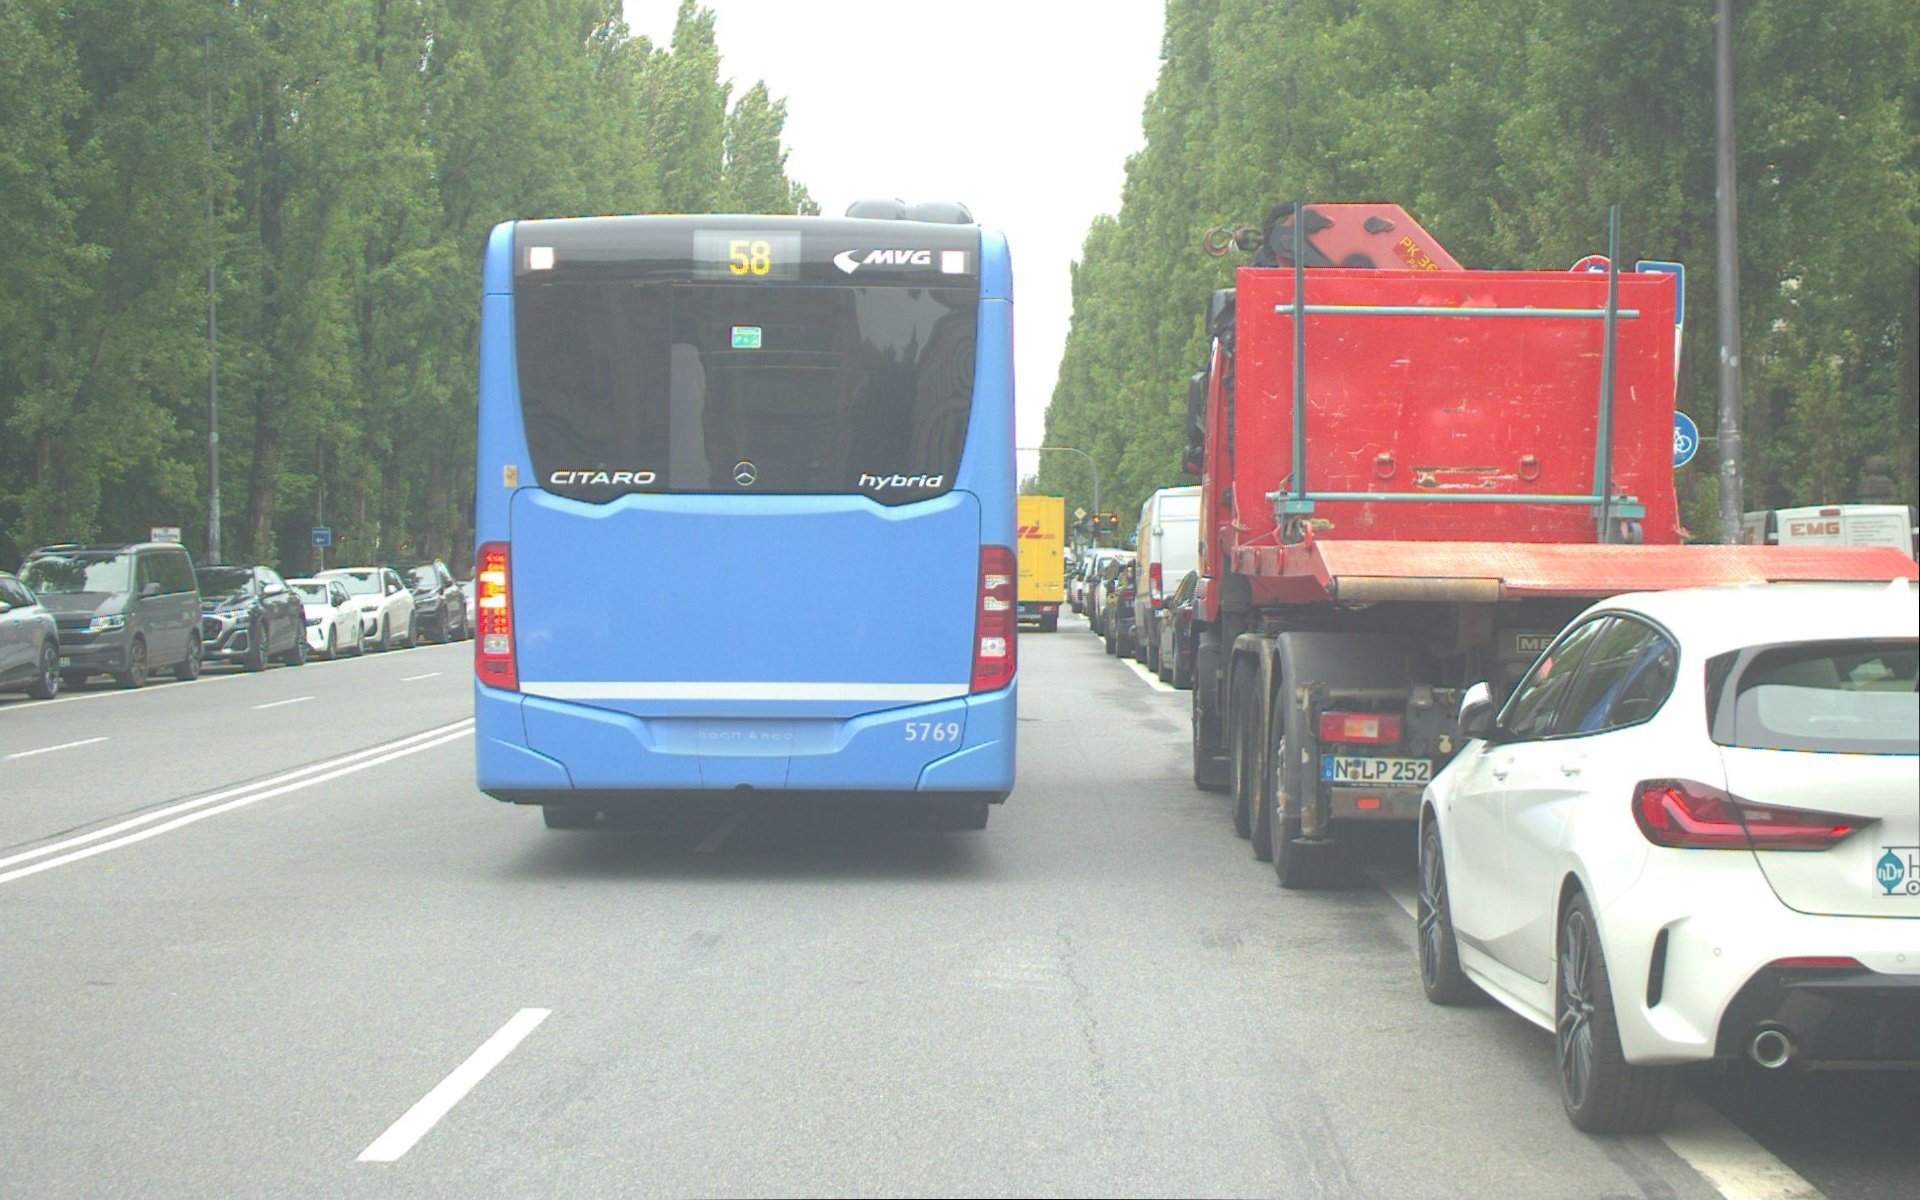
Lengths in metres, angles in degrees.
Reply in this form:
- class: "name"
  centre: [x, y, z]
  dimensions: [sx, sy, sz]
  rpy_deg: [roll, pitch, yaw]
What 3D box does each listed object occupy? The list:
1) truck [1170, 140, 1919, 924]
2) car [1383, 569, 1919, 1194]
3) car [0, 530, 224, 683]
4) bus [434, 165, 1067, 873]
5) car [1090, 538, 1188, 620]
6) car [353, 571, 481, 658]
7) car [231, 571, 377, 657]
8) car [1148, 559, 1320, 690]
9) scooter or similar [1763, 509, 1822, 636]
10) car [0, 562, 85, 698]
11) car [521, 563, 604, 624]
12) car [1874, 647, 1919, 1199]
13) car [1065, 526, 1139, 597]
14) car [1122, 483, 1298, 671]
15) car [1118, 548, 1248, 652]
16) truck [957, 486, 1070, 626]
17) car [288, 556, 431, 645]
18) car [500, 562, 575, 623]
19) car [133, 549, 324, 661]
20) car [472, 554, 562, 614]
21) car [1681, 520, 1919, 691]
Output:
- class: "truck"
  centre: [2.728, -0.321, 18.868]
  dimensions: [2.713, 3.099, 10.426]
  rpy_deg: [0, 1, 1]
- class: "car"
  centre: [2.393, 0.651, 10.214]
  dimensions: [1.788, 1.455, 4.217]
  rpy_deg: [1, 1, 1]
- class: "car"
  centre: [-11.730, 0.054, 47.388]
  dimensions: [1.993, 1.950, 4.937]
  rpy_deg: [-2, 1, 1]
- class: "bus"
  centre: [-1.074, -0.414, 20.194]
  dimensions: [2.855, 3.202, 9.060]
  rpy_deg: [0, 1, -2]
- class: "car"
  centre: [3.656, -0.445, 70.740]
  dimensions: [1.781, 1.576, 4.147]
  rpy_deg: [2, 0, 0]
- class: "car"
  centre: [-11.286, 0.271, 71.766]
  dimensions: [1.880, 1.653, 4.718]
  rpy_deg: [-3, 1, 0]
- class: "car"
  centre: [-11.534, 0.226, 60.693]
  dimensions: [1.676, 1.417, 4.237]
  rpy_deg: [-2, 0, 1]
- class: "car"
  centre: [3.279, 0.261, 41.764]
  dimensions: [1.754, 1.445, 4.000]
  rpy_deg: [2, 1, 0]
- class: "scooter or similar"
  centre: [8.398, -0.277, 34.693]
  dimensions: [0.336, 1.261, 1.186]
  rpy_deg: [0, 0, 2]
- class: "car"
  centre: [-12.069, 0.354, 41.251]
  dimensions: [1.890, 1.579, 4.654]
  rpy_deg: [-1, 1, 1]
- class: "car"
  centre: [-10.988, -0.194, 95.208]
  dimensions: [1.814, 1.637, 4.000]
  rpy_deg: [0, 1, 0]
- class: "car"
  centre: [2.494, 0.762, 4.144]
  dimensions: [1.735, 1.305, 4.370]
  rpy_deg: [0, 1, 2]
- class: "car"
  centre: [4.130, -1.122, 100.621]
  dimensions: [2.052, 2.007, 5.692]
  rpy_deg: [0, 1, 1]
- class: "car"
  centre: [3.481, -0.344, 48.975]
  dimensions: [2.074, 2.470, 6.284]
  rpy_deg: [1, 1, 1]
- class: "car"
  centre: [3.541, -0.022, 55.238]
  dimensions: [1.821, 1.585, 4.223]
  rpy_deg: [1, 0, 0]
- class: "truck"
  centre: [1.130, -0.947, 74.873]
  dimensions: [2.327, 2.888, 7.333]
  rpy_deg: [0, 0, 0]
- class: "car"
  centre: [-11.499, -0.016, 66.066]
  dimensions: [1.785, 1.583, 4.461]
  rpy_deg: [-2, 1, 2]
- class: "car"
  centre: [-11.061, -0.205, 90.214]
  dimensions: [1.743, 1.513, 4.119]
  rpy_deg: [-2, 0, -4]
- class: "car"
  centre: [-11.453, 0.056, 54.131]
  dimensions: [1.815, 1.603, 5.053]
  rpy_deg: [-2, 0, 1]
- class: "car"
  centre: [-10.986, -0.401, 85.446]
  dimensions: [1.685, 1.408, 4.004]
  rpy_deg: [-2, 0, 0]
- class: "car"
  centre: [10.157, 0.046, 41.452]
  dimensions: [1.993, 1.939, 5.083]
  rpy_deg: [0, 0, 2]
